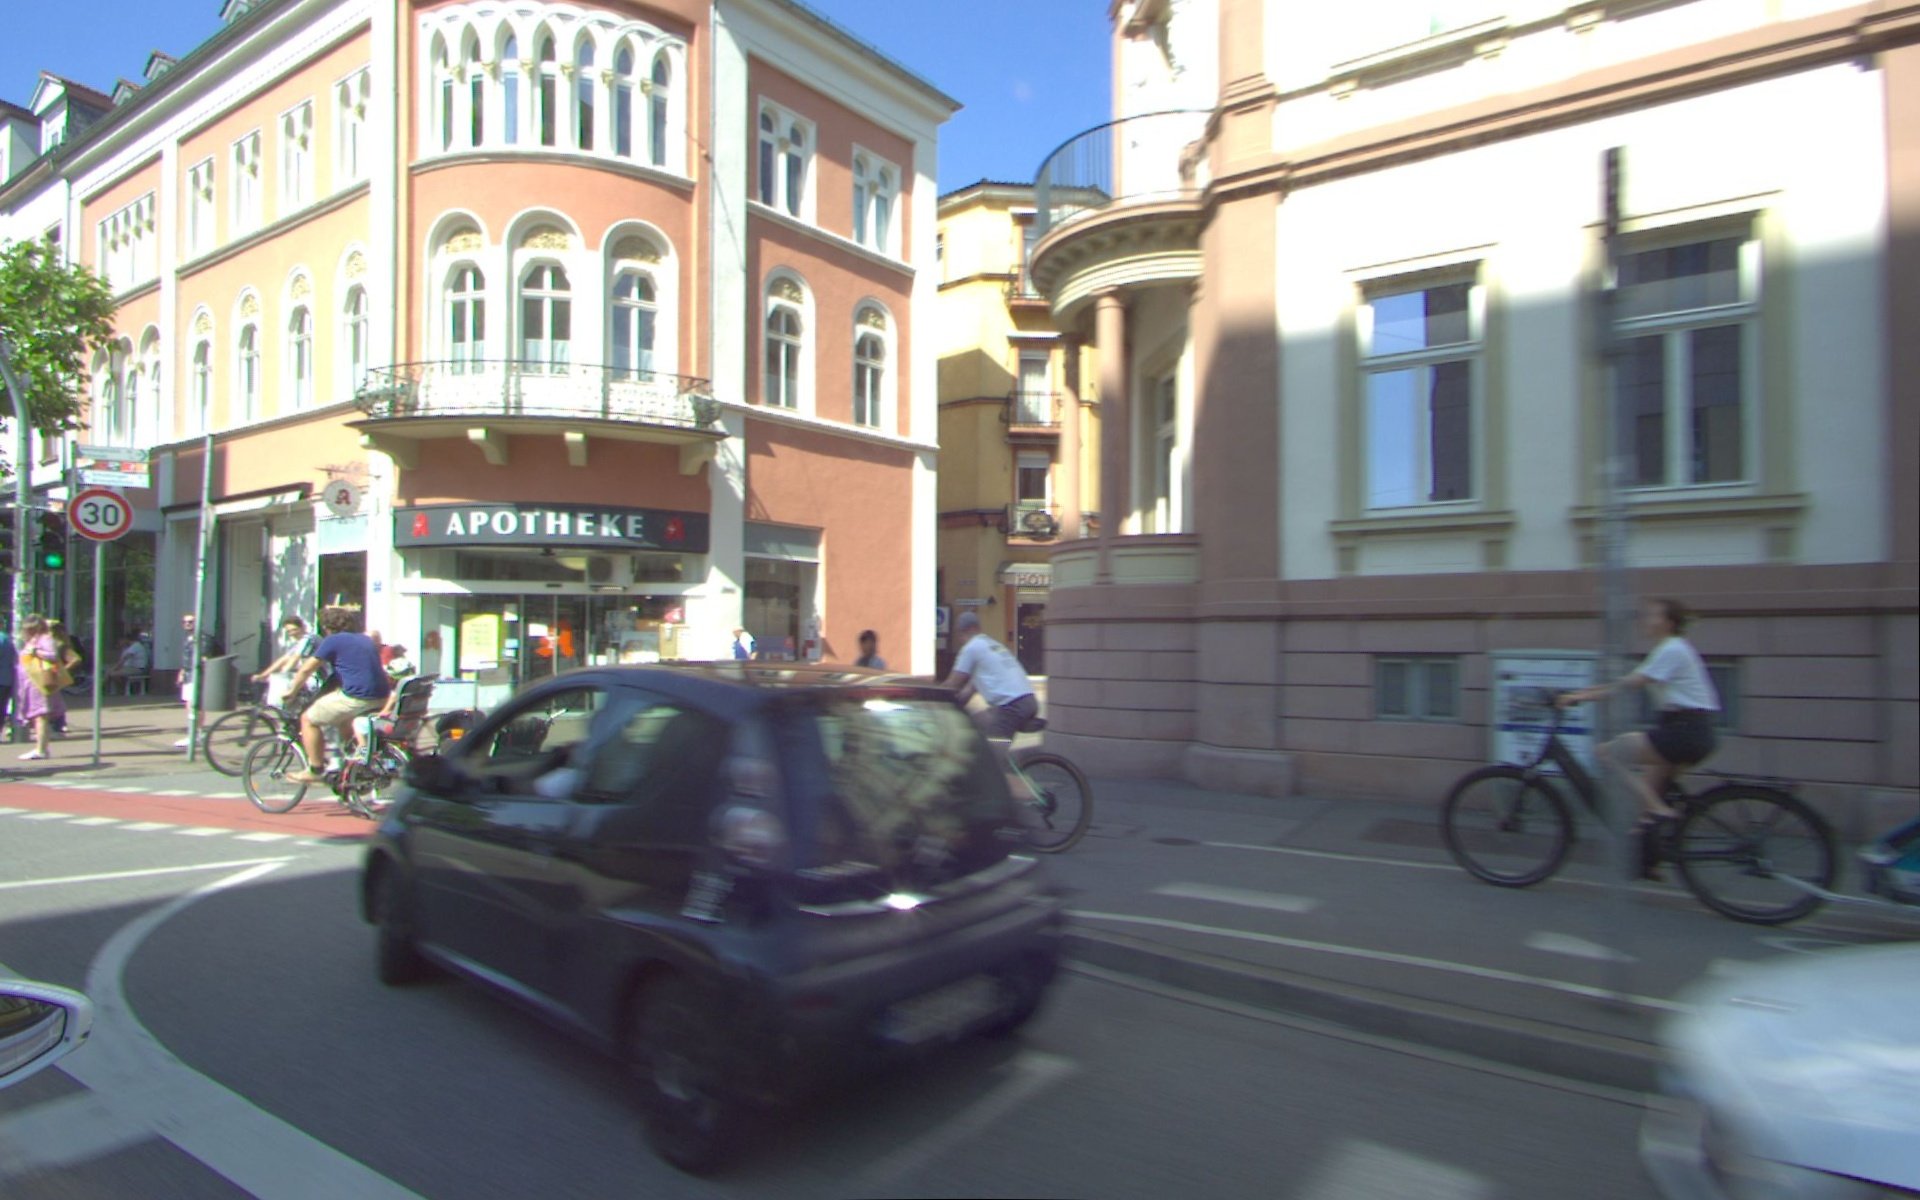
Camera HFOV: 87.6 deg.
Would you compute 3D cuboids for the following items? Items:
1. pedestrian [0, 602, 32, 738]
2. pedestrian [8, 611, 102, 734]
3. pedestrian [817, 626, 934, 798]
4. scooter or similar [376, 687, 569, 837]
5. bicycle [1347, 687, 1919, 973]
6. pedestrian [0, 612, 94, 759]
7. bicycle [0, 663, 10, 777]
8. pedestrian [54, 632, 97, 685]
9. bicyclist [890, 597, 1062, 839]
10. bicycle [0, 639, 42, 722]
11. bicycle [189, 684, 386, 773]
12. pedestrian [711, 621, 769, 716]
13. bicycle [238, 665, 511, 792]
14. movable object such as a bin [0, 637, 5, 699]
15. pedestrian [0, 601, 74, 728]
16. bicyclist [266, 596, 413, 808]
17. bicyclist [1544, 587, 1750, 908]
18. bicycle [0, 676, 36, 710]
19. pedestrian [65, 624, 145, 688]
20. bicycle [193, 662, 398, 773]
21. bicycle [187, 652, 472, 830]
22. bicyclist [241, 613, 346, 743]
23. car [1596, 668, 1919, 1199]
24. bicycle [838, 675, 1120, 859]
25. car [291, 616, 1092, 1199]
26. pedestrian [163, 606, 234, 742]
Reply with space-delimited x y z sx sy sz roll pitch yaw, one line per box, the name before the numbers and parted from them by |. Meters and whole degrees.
pedestrian | -13.055 0.942 13.571 0.599 1.817 0.452 0 -3 31
pedestrian | -13.070 1.034 14.471 0.631 1.711 0.787 0 -2 30
pedestrian | -0.838 1.108 10.175 0.958 1.632 0.903 -3 -2 7
scooter or similar | -3.896 1.265 8.052 1.105 1.073 0.786 1 -3 14
bicycle | 3.883 1.159 5.488 3.195 1.142 0.746 0 0 35
pedestrian | -11.209 1.033 12.293 0.778 1.730 0.638 -3 -3 30
bicycle | -10.739 1.203 10.364 2.050 1.140 0.698 -1 -4 30
pedestrian | -21.889 1.441 24.770 0.600 1.269 0.638 -1 -1 30
bicyclist | 0.124 0.831 7.486 1.139 1.684 0.571 1 0 24
bicycle | -15.296 1.161 15.174 1.826 1.203 0.715 5 -2 -19
bicycle | -7.651 1.432 11.485 0.494 0.855 1.818 0 -2 33
pedestrian | -4.087 1.261 18.587 0.781 1.680 0.636 3 0 44
bicycle | -6.167 1.305 10.778 0.618 1.141 2.564 1 -2 28
movable object such as a bin | -18.284 1.219 17.774 1.839 1.203 0.647 5 -5 -42
pedestrian | -13.763 0.950 14.790 0.631 1.817 0.787 0 -3 30
bicyclist | -5.224 0.829 8.460 0.761 1.695 0.732 0 -1 19
bicyclist | 3.775 0.743 5.560 0.832 1.594 0.744 2 1 33
bicycle | -16.680 1.718 16.541 1.823 0.440 1.137 -9 6 8
pedestrian | -20.110 1.307 23.562 0.778 1.440 1.232 -1 -2 30
bicycle | -7.561 1.291 11.473 0.658 1.141 1.835 -1 -3 36
bicycle | -5.330 1.134 8.472 2.241 1.285 0.734 2 -2 18
bicyclist | -7.644 0.871 11.507 0.494 1.429 0.857 0 -1 33
car | 3.484 0.873 0.947 4.815 1.442 1.951 0 -4 32
bicycle | 0.119 1.189 7.491 2.043 1.142 0.571 1 0 24
car | -1.408 0.901 4.367 3.691 1.496 1.621 -3 -4 42
pedestrian | -10.849 1.048 14.264 0.608 1.865 0.636 -1 -4 45
